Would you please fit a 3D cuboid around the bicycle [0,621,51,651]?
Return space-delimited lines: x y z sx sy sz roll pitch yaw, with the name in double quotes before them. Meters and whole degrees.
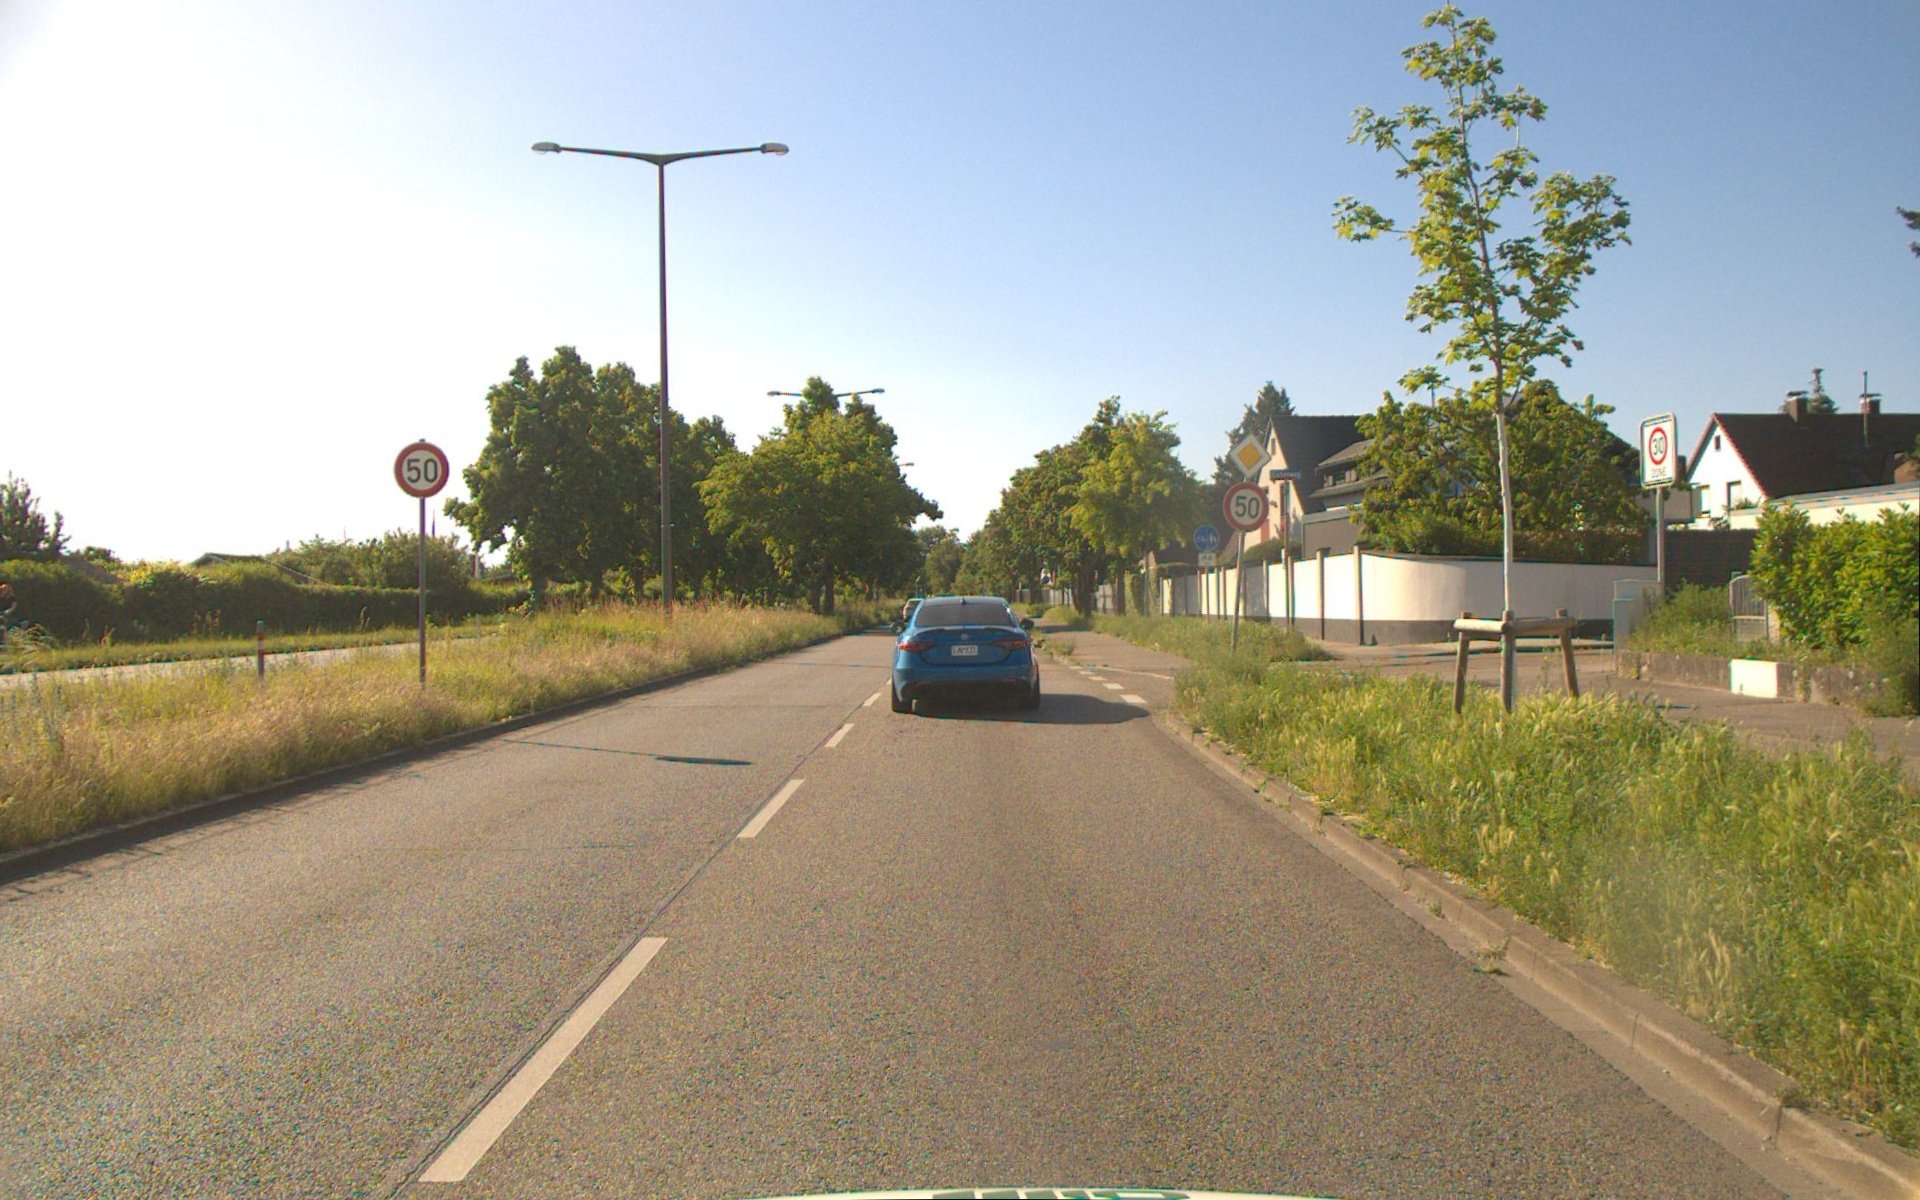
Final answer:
"bicycle" -23.373 0.889 40.924 0.553 0.707 1.876 0 0 7

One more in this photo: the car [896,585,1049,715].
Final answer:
"car" 0.107 0.583 21.880 1.801 1.500 4.183 -1 1 -1

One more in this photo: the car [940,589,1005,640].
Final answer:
"car" 0.371 0.458 54.731 1.877 1.607 4.179 0 0 -4

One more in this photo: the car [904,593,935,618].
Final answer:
"car" -2.546 0.315 102.908 1.877 1.538 4.066 0 0 -2

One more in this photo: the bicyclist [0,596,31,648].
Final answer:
"bicyclist" -23.382 0.532 40.810 0.570 1.279 0.576 0 0 7

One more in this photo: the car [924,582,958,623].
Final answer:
"car" -0.982 0.134 86.640 1.756 2.049 4.000 0 0 0
